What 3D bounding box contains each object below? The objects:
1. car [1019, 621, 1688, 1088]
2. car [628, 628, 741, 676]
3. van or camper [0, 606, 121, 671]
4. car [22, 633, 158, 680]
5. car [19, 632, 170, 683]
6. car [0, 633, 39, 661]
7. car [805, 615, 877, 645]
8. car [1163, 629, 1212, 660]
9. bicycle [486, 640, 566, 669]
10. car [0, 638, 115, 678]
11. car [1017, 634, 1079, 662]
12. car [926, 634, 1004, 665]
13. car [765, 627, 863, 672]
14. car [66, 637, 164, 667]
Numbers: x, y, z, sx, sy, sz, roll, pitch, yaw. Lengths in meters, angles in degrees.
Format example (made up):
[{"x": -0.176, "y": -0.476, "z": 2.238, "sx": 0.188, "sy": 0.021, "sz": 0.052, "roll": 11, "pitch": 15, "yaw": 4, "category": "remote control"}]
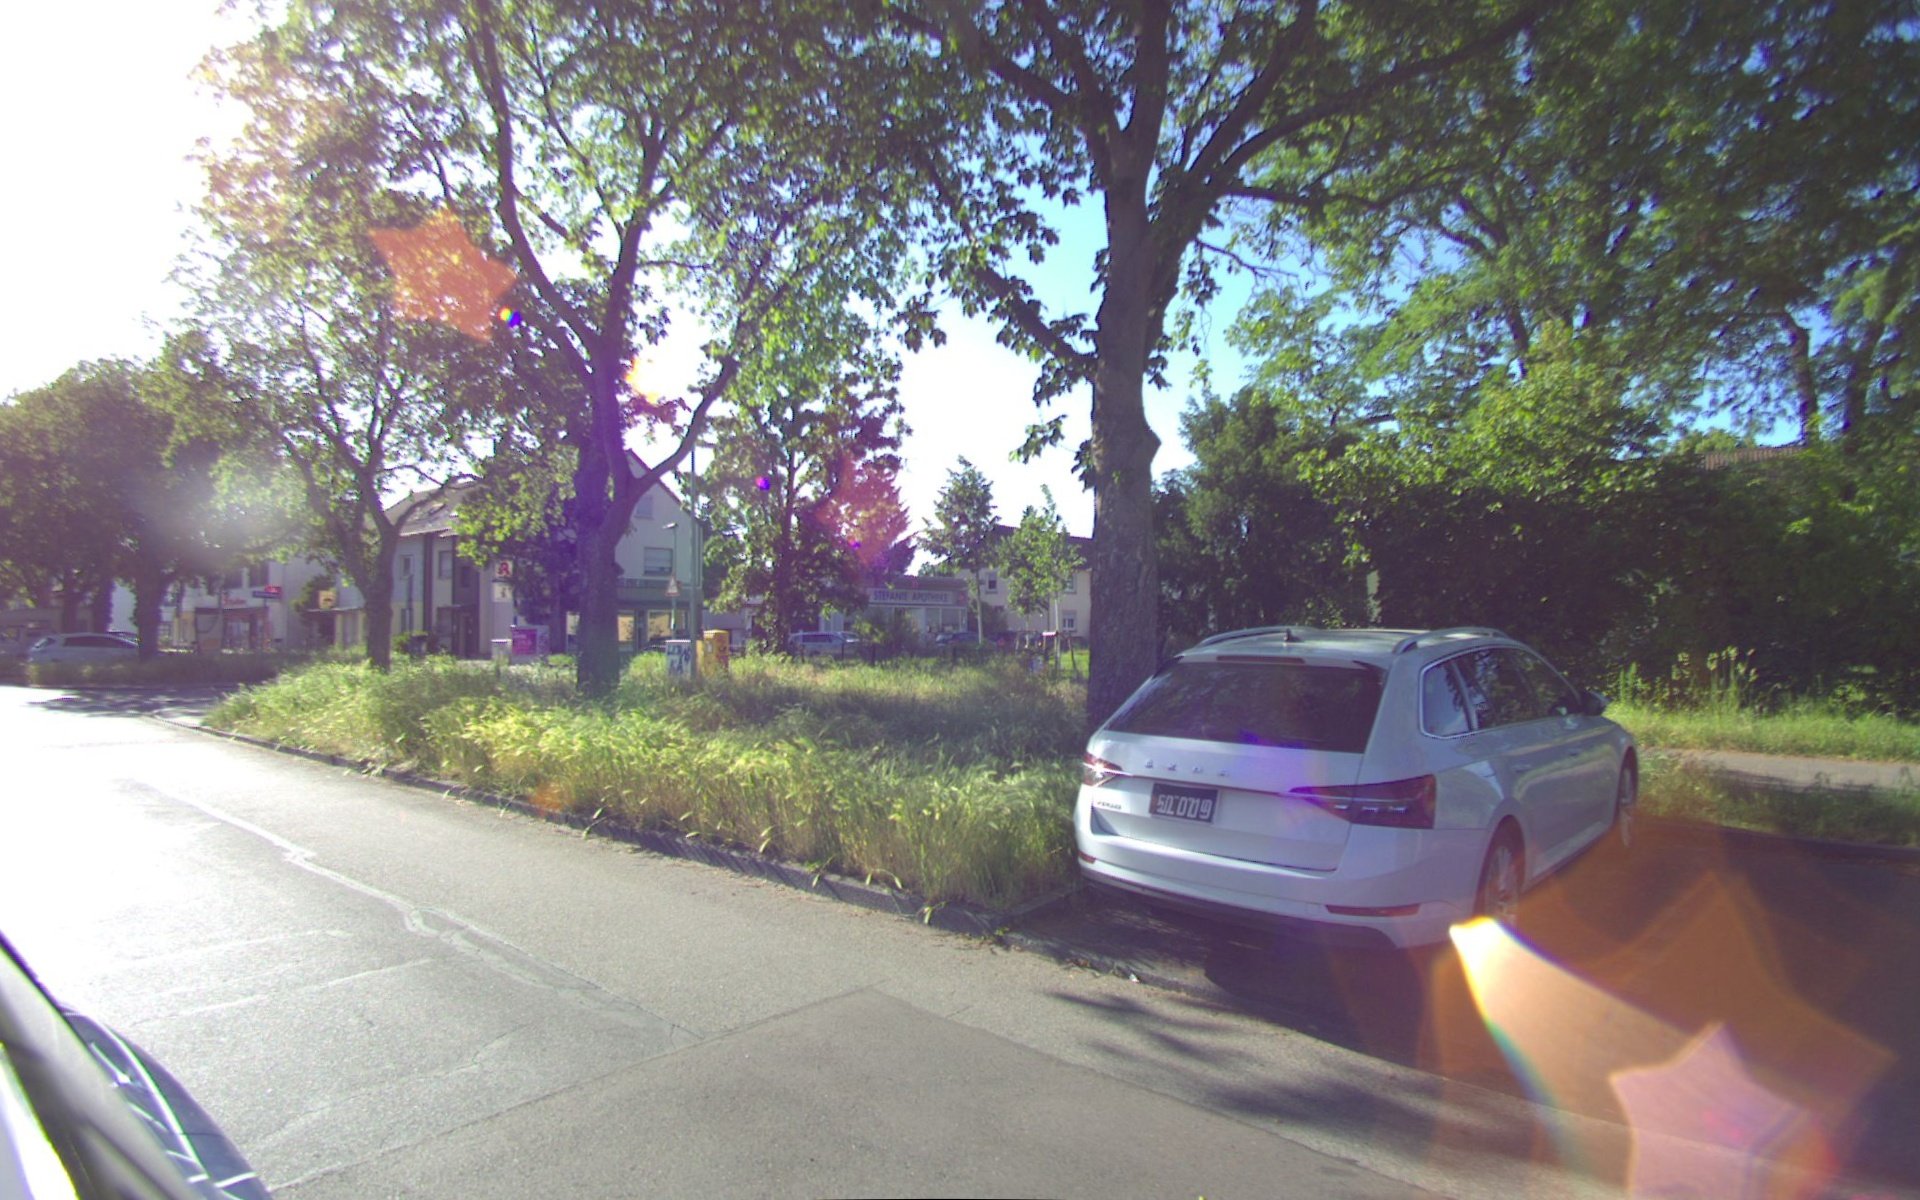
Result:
[{"x": 2.572, "y": 0.903, "z": 5.763, "sx": 2.000, "sy": 1.515, "sz": 4.620, "roll": -2, "pitch": -2, "yaw": 43, "category": "car"}, {"x": -10.740, "y": 1.998, "z": 39.585, "sx": 1.821, "sy": 1.727, "sz": 3.945, "roll": -2, "pitch": -2, "yaw": 41, "category": "car"}, {"x": -43.905, "y": 1.834, "z": 48.278, "sx": 2.000, "sy": 2.826, "sz": 5.713, "roll": -1, "pitch": 1, "yaw": 43, "category": "van or camper"}, {"x": -35.598, "y": 2.270, "z": 41.492, "sx": 1.999, "sy": 1.601, "sz": 3.947, "roll": -1, "pitch": 1, "yaw": 40, "category": "car"}, {"x": -31.562, "y": 2.053, "z": 36.968, "sx": 1.965, "sy": 1.673, "sz": 3.946, "roll": -2, "pitch": -2, "yaw": 40, "category": "car"}, {"x": -63.532, "y": 3.141, "z": 65.881, "sx": 1.997, "sy": 1.741, "sz": 5.014, "roll": -1, "pitch": 1, "yaw": 37, "category": "car"}, {"x": -6.493, "y": 1.630, "z": 54.938, "sx": 3.755, "sy": 1.530, "sz": 1.781, "roll": -2, "pitch": -2, "yaw": 39, "category": "car"}, {"x": 16.823, "y": 3.275, "z": 74.802, "sx": 1.997, "sy": 1.962, "sz": 3.949, "roll": -1, "pitch": 1, "yaw": 38, "category": "car"}, {"x": -18.850, "y": 2.366, "z": 43.897, "sx": 4.033, "sy": 1.185, "sz": 0.700, "roll": -2, "pitch": -3, "yaw": 25, "category": "bicycle"}, {"x": -41.601, "y": 2.623, "z": 46.518, "sx": 1.998, "sy": 1.469, "sz": 3.947, "roll": -1, "pitch": 1, "yaw": 40, "category": "car"}, {"x": 5.179, "y": 2.808, "z": 59.326, "sx": 1.818, "sy": 1.551, "sz": 3.817, "roll": -2, "pitch": -3, "yaw": 39, "category": "car"}, {"x": 0.270, "y": 2.548, "z": 52.961, "sx": 1.999, "sy": 1.551, "sz": 3.945, "roll": -2, "pitch": -3, "yaw": 41, "category": "car"}, {"x": -6.425, "y": 2.155, "z": 44.850, "sx": 1.999, "sy": 1.834, "sz": 3.945, "roll": -2, "pitch": -2, "yaw": 41, "category": "car"}, {"x": -48.055, "y": 2.923, "z": 57.612, "sx": 1.866, "sy": 1.554, "sz": 3.951, "roll": -1, "pitch": -1, "yaw": 36, "category": "car"}]
